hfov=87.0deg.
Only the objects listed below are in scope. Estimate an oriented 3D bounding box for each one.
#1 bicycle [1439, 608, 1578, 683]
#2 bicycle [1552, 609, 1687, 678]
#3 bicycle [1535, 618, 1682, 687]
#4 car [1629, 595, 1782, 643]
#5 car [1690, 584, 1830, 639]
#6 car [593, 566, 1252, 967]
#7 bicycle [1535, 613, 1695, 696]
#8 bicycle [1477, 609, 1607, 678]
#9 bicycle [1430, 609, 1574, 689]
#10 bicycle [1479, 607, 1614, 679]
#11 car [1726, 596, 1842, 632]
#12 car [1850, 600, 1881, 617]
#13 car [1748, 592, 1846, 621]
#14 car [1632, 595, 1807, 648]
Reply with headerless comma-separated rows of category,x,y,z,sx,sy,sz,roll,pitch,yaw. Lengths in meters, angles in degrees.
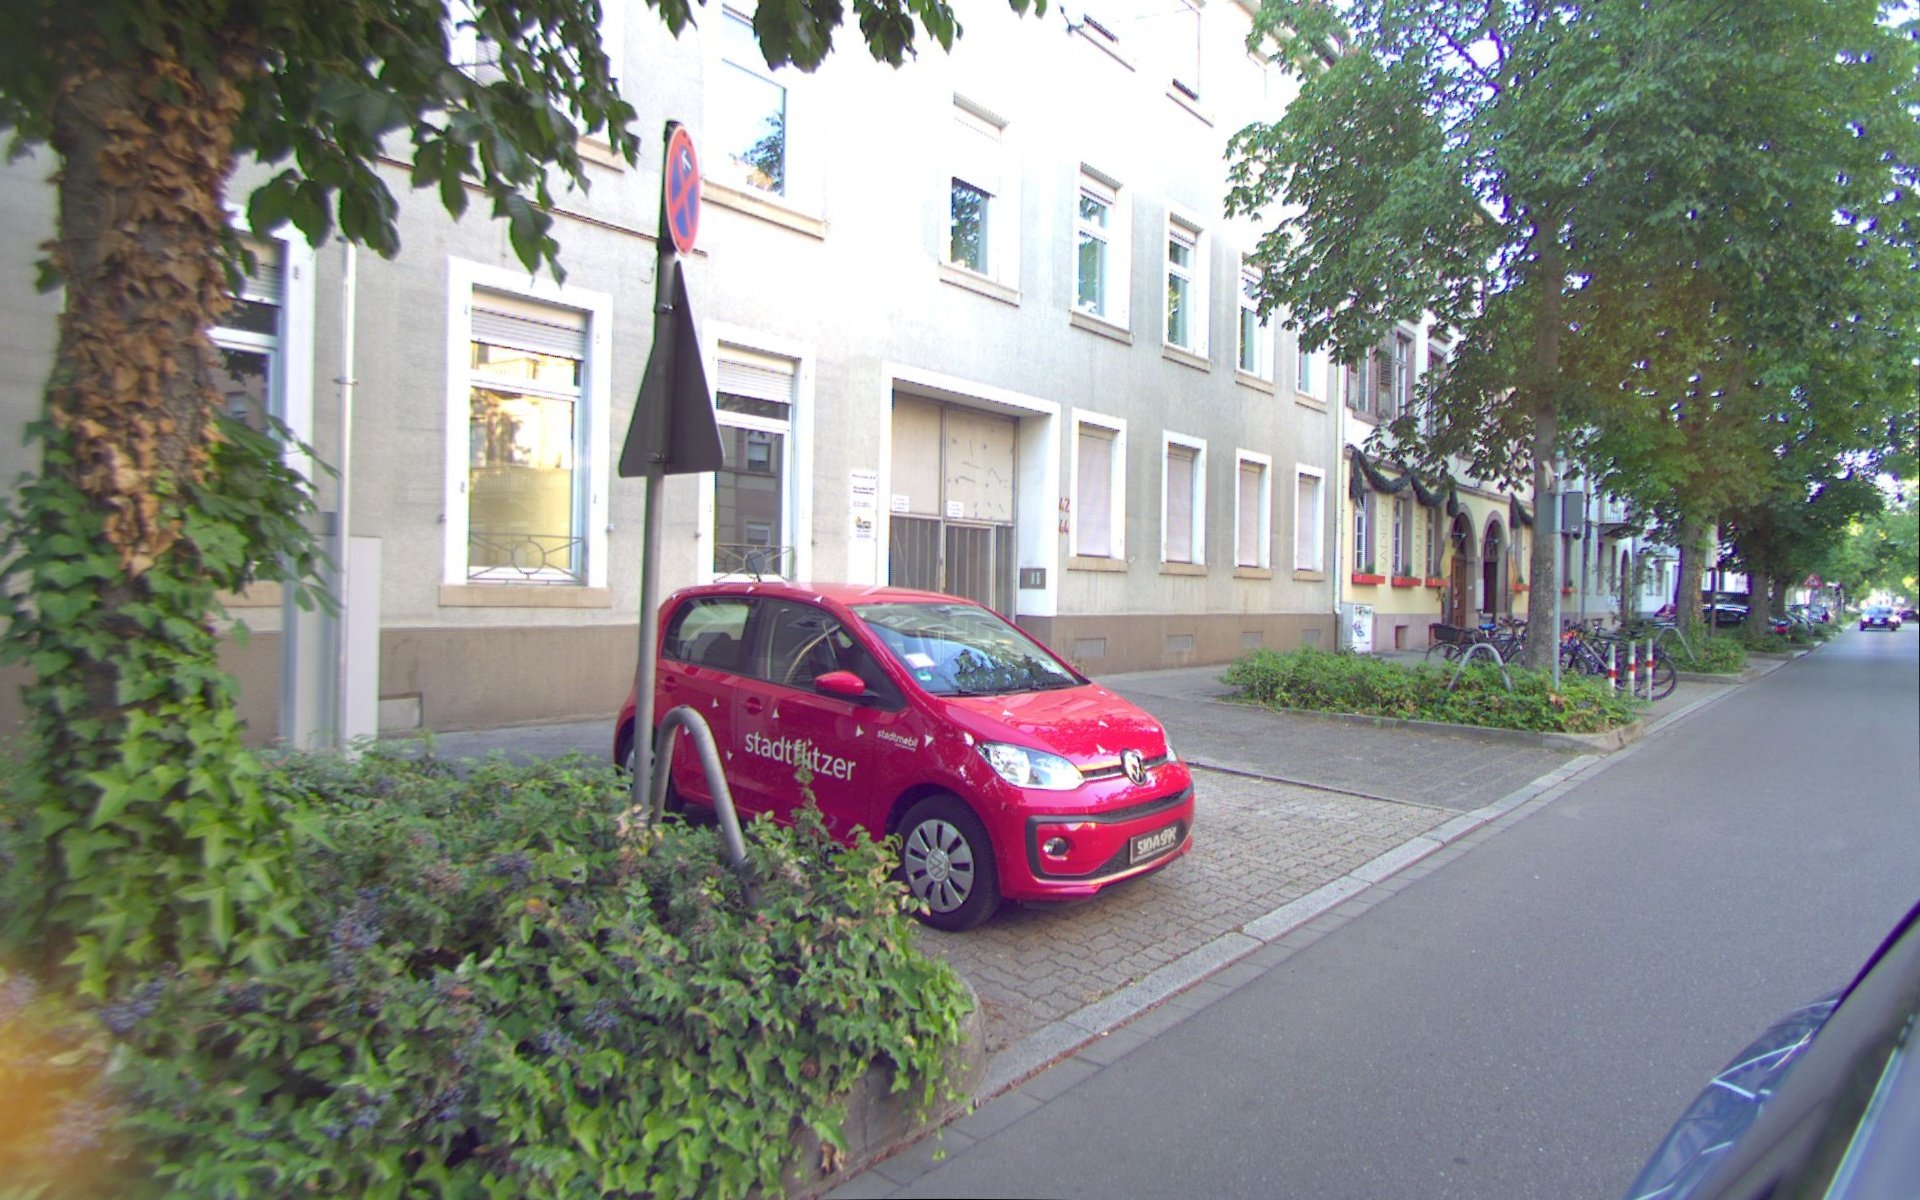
bicycle,9.338,0.751,17.305,2.035,1.160,0.415,2,1,43
bicycle,12.171,0.781,18.729,2.035,1.160,0.415,2,1,43
bicycle,10.861,0.853,17.008,2.035,1.016,0.415,2,1,43
car,28.104,0.686,38.237,1.748,1.633,4.434,1,1,-45
car,33.513,0.445,42.487,1.748,2.150,4.434,1,1,-45
car,-0.424,0.597,5.685,3.654,1.494,1.542,3,2,42
bicycle,10.187,0.819,15.810,2.036,1.160,0.439,2,1,45
bicycle,10.716,0.771,18.688,2.035,1.160,0.415,2,1,43
bicycle,8.811,0.768,16.533,0.439,1.160,2.038,1,1,-43
bicycle,10.422,0.744,18.045,2.035,1.160,0.415,2,1,43
car,42.127,0.690,51.795,1.748,1.633,4.434,1,1,-45
car,75.570,0.709,84.456,1.822,1.389,3.938,2,1,43
car,50.709,0.382,61.389,1.748,1.633,4.434,1,1,-45
car,25.067,0.666,33.501,1.748,1.524,4.434,1,1,-45
